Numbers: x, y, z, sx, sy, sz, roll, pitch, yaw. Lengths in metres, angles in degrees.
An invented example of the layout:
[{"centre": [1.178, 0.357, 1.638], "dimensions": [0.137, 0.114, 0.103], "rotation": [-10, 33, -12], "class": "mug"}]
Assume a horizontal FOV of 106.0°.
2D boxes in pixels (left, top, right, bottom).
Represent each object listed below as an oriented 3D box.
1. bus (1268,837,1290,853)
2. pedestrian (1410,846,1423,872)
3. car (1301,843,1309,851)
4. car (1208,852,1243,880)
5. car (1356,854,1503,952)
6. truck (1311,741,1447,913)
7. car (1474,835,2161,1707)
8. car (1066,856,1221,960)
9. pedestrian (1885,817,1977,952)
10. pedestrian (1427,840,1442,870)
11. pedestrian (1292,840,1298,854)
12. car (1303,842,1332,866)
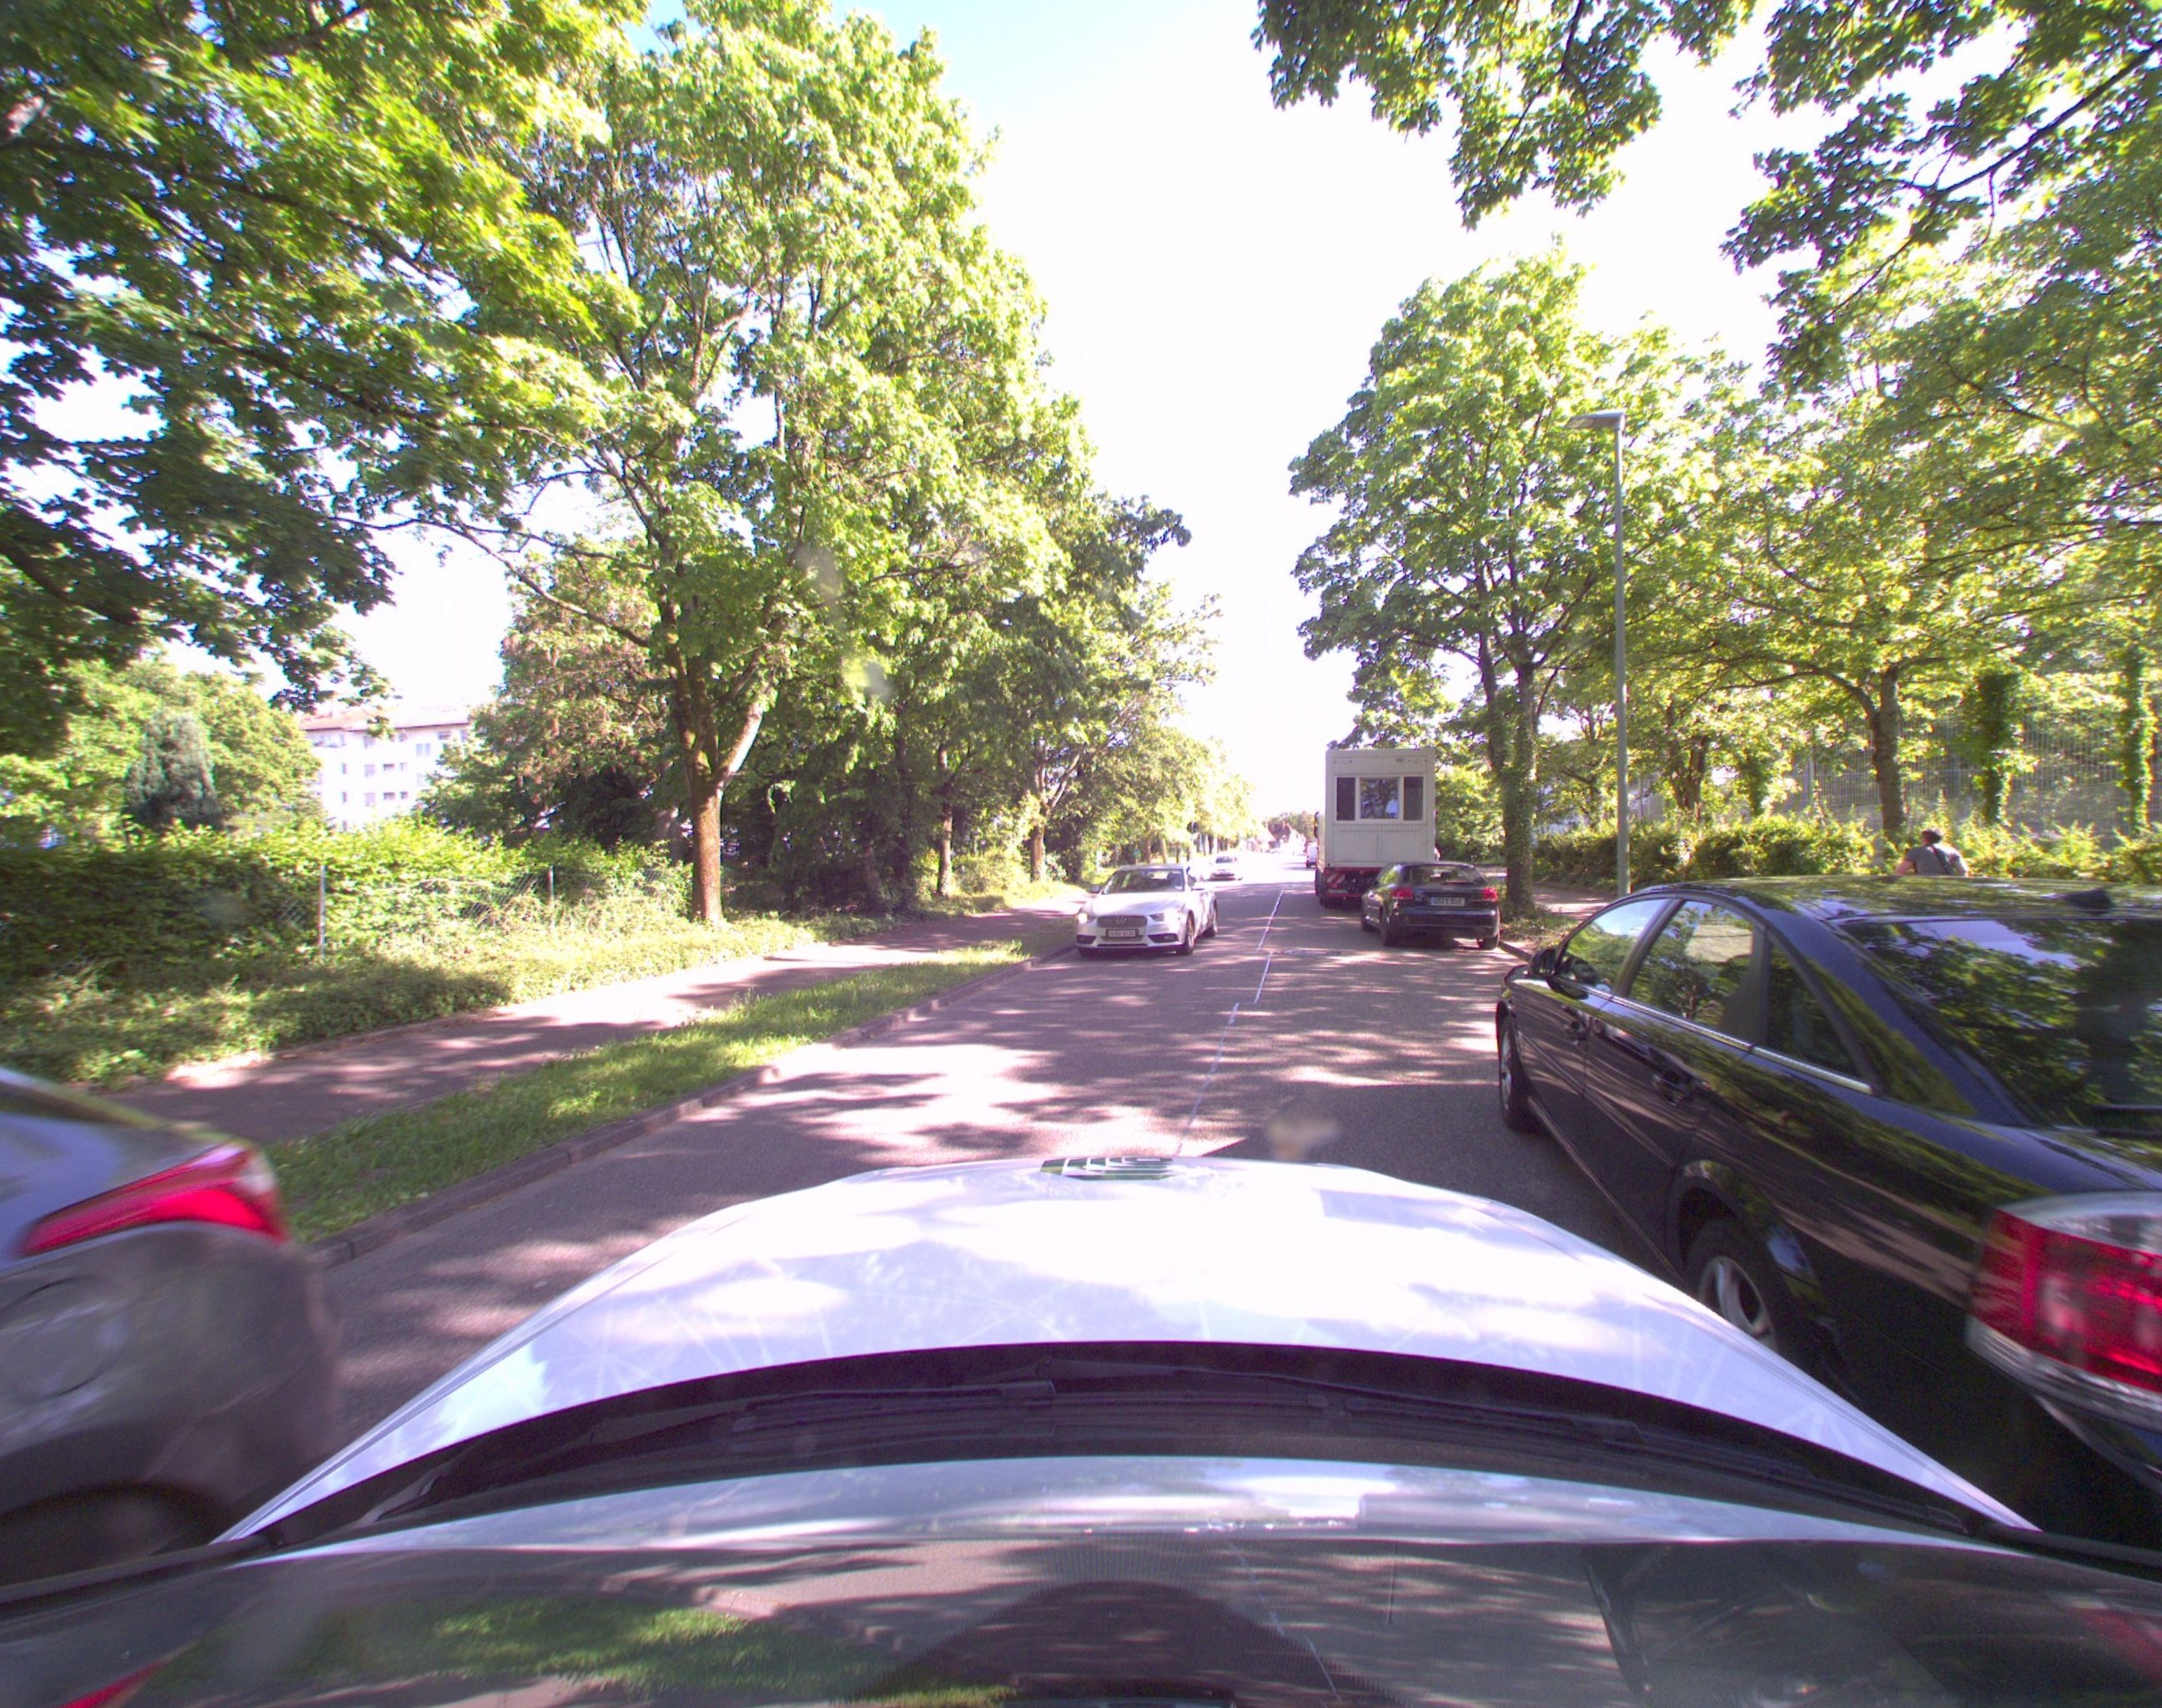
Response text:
[{"centre": [42.750, -1.946, 175.700], "dimensions": [4.033, 3.349, 9.845], "rotation": [-2, 0, 17], "class": "bus"}, {"centre": [20.850, 0.293, 50.635], "dimensions": [0.594, 1.611, 0.602], "rotation": [-2, 0, 12], "class": "pedestrian"}, {"centre": [50.411, -1.558, 183.368], "dimensions": [1.768, 1.808, 4.015], "rotation": [-2, 0, 14], "class": "car"}, {"centre": [8.257, 0.668, 46.287], "dimensions": [1.794, 1.420, 3.971], "rotation": [-3, 0, 11], "class": "car"}, {"centre": [5.928, 0.737, 14.298], "dimensions": [1.629, 1.420, 4.014], "rotation": [0, 0, 12], "class": "car"}, {"centre": [8.442, -0.682, 24.288], "dimensions": [2.753, 3.995, 10.389], "rotation": [0, 1, 14], "class": "truck"}, {"centre": [2.669, 0.717, 2.832], "dimensions": [1.735, 1.480, 4.048], "rotation": [0, 0, 17], "class": "car"}, {"centre": [1.231, 0.813, 13.913], "dimensions": [1.773, 1.416, 4.122], "rotation": [-2, 0, 16], "class": "car"}, {"centre": [10.492, 0.361, 10.077], "dimensions": [0.566, 1.608, 0.675], "rotation": [-1, 0, 24], "class": "pedestrian"}, {"centre": [21.919, 0.084, 50.472], "dimensions": [0.693, 1.812, 0.702], "rotation": [-2, 0, 12], "class": "pedestrian"}, {"centre": [32.119, -1.023, 122.186], "dimensions": [0.746, 2.113, 0.802], "rotation": [1, 0, 18], "class": "pedestrian"}, {"centre": [18.905, 0.022, 65.309], "dimensions": [1.934, 1.843, 4.013], "rotation": [-1, 0, 12], "class": "car"}]
